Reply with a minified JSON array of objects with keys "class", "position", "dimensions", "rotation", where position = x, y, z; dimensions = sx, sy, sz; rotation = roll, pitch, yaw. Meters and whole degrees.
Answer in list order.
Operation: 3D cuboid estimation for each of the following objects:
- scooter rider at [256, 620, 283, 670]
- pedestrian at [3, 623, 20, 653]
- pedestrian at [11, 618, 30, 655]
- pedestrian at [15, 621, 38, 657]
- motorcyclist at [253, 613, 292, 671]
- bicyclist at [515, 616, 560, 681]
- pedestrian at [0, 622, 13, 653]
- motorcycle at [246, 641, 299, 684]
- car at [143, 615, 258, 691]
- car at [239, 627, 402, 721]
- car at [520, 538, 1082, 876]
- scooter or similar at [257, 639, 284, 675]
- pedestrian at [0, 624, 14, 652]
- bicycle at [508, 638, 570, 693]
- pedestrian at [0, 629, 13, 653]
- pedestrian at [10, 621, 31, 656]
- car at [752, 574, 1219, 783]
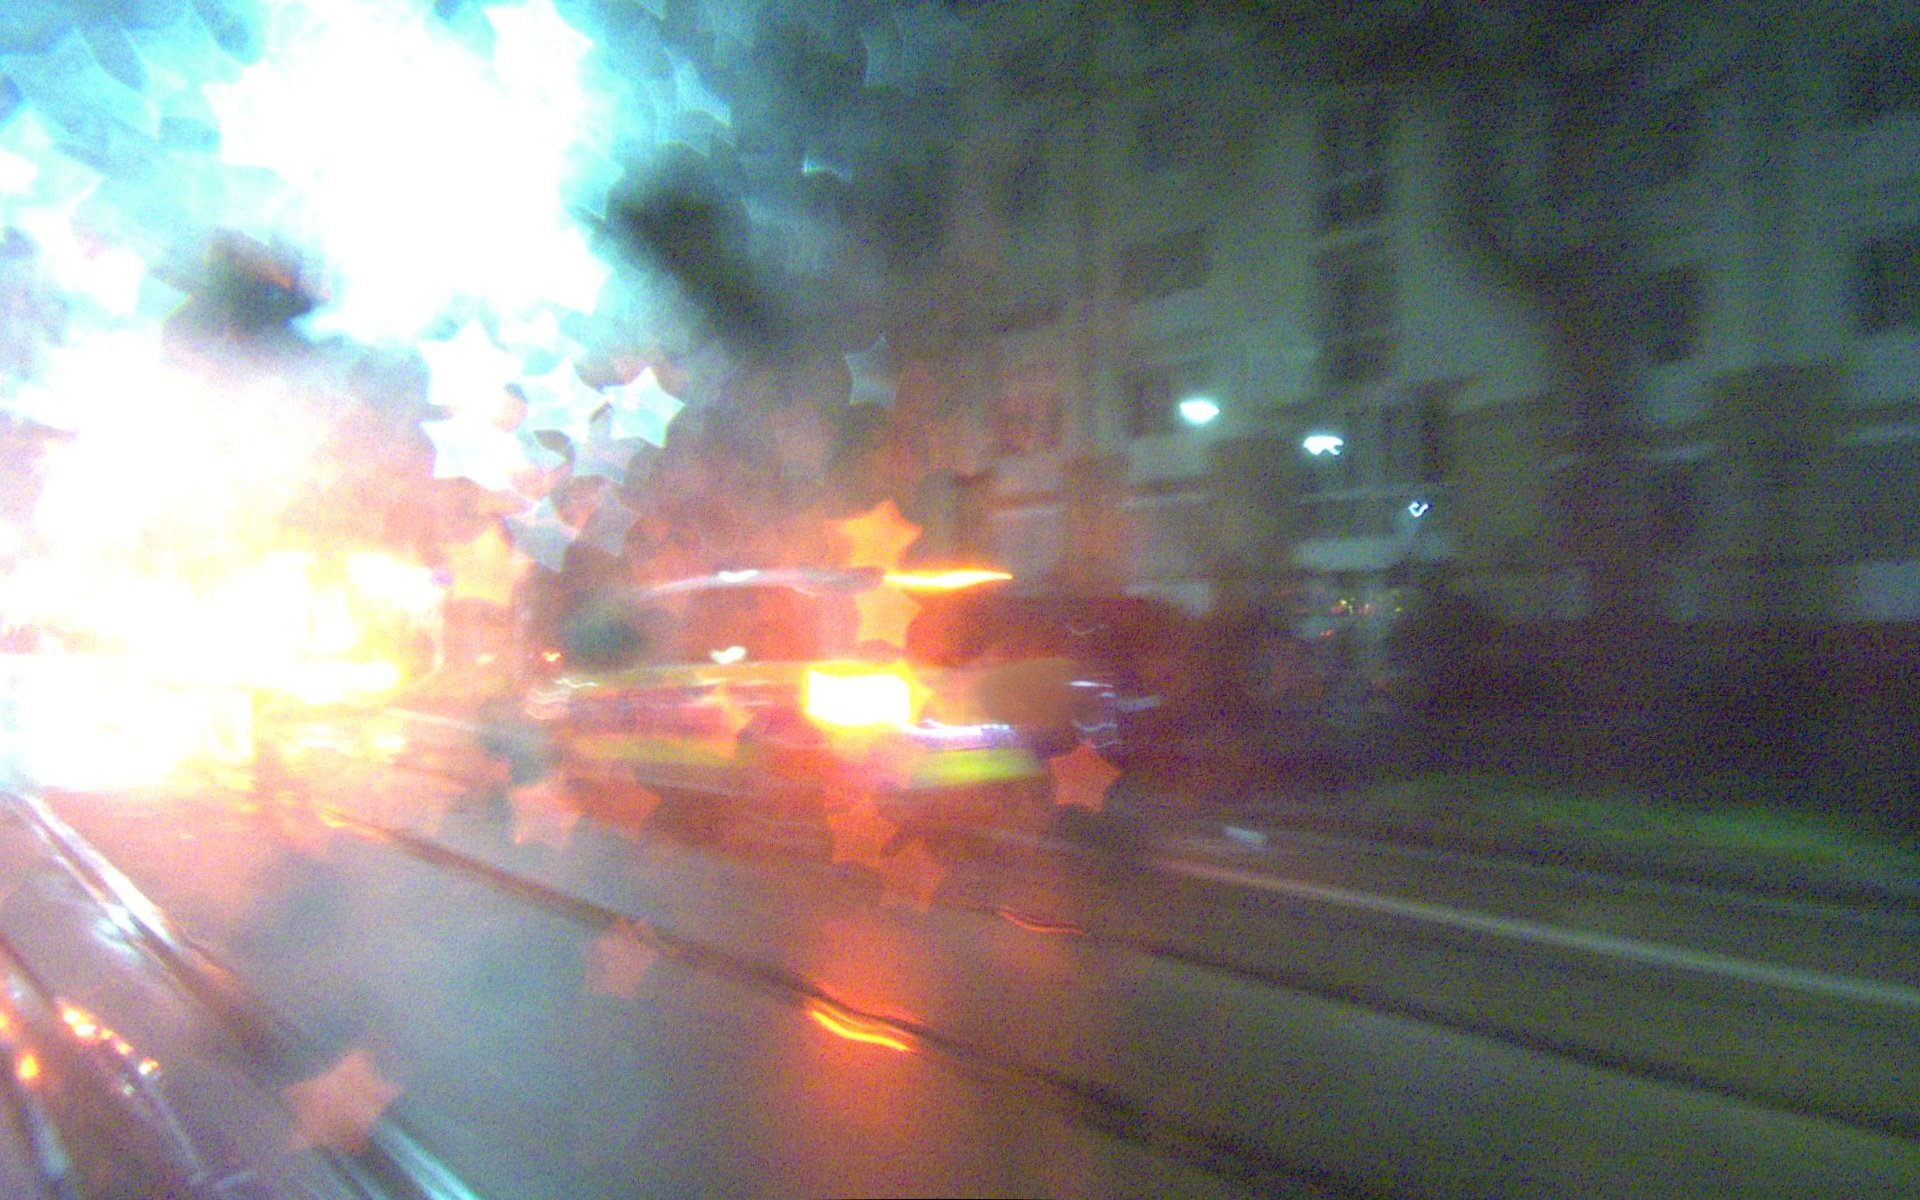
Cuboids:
[{"class":"scooter rider","position":[-22.647,1.465,33.196],"dimensions":[0.632,1.584,0.654],"rotation":[-3,2,-38]},{"class":"pedestrian","position":[-52.106,2.090,55.594],"dimensions":[0.525,1.641,0.400],"rotation":[-2,1,-1]},{"class":"pedestrian","position":[-50.856,1.966,54.782],"dimensions":[0.858,2.001,0.602],"rotation":[0,2,39]},{"class":"pedestrian","position":[-48.089,2.016,52.126],"dimensions":[0.715,1.787,0.664],"rotation":[-1,2,32]},{"class":"motorcyclist","position":[-21.257,1.295,31.281],"dimensions":[1.027,1.744,0.700],"rotation":[0,-2,39]},{"class":"bicyclist","position":[-9.952,1.127,23.853],"dimensions":[0.868,1.476,0.647],"rotation":[0,2,45]},{"class":"pedestrian","position":[-52.743,2.086,55.765],"dimensions":[0.552,1.664,0.585],"rotation":[-2,1,-1]},{"class":"motorcycle","position":[-21.235,1.898,31.234],"dimensions":[2.323,1.239,0.700],"rotation":[0,-2,40]},{"class":"car","position":[-20.638,1.371,27.427],"dimensions":[1.873,1.883,4.538],"rotation":[2,-2,-45]},{"class":"car","position":[-11.652,1.267,18.328],"dimensions":[1.771,1.475,3.904],"rotation":[0,-2,-44]},{"class":"car","position":[-1.487,0.687,7.972],"dimensions":[4.637,1.894,1.905],"rotation":[-2,-3,43]},{"class":"scooter or similar","position":[-22.599,1.842,33.158],"dimensions":[0.632,1.060,1.372],"rotation":[-3,2,-37]},{"class":"pedestrian","position":[-53.901,2.138,57.122],"dimensions":[0.583,1.539,0.476],"rotation":[-1,2,24]},{"class":"bicycle","position":[-9.929,1.517,23.847],"dimensions":[1.899,1.150,0.647],"rotation":[0,2,45]},{"class":"pedestrian","position":[-53.268,2.295,56.293],"dimensions":[0.615,1.263,0.585],"rotation":[-2,1,-1]},{"class":"pedestrian","position":[-49.643,2.005,53.463],"dimensions":[0.671,1.787,0.707],"rotation":[0,2,44]},{"class":"car","position":[0.067,0.782,11.707],"dimensions":[5.306,1.839,1.973],"rotation":[-3,1,41]}]
